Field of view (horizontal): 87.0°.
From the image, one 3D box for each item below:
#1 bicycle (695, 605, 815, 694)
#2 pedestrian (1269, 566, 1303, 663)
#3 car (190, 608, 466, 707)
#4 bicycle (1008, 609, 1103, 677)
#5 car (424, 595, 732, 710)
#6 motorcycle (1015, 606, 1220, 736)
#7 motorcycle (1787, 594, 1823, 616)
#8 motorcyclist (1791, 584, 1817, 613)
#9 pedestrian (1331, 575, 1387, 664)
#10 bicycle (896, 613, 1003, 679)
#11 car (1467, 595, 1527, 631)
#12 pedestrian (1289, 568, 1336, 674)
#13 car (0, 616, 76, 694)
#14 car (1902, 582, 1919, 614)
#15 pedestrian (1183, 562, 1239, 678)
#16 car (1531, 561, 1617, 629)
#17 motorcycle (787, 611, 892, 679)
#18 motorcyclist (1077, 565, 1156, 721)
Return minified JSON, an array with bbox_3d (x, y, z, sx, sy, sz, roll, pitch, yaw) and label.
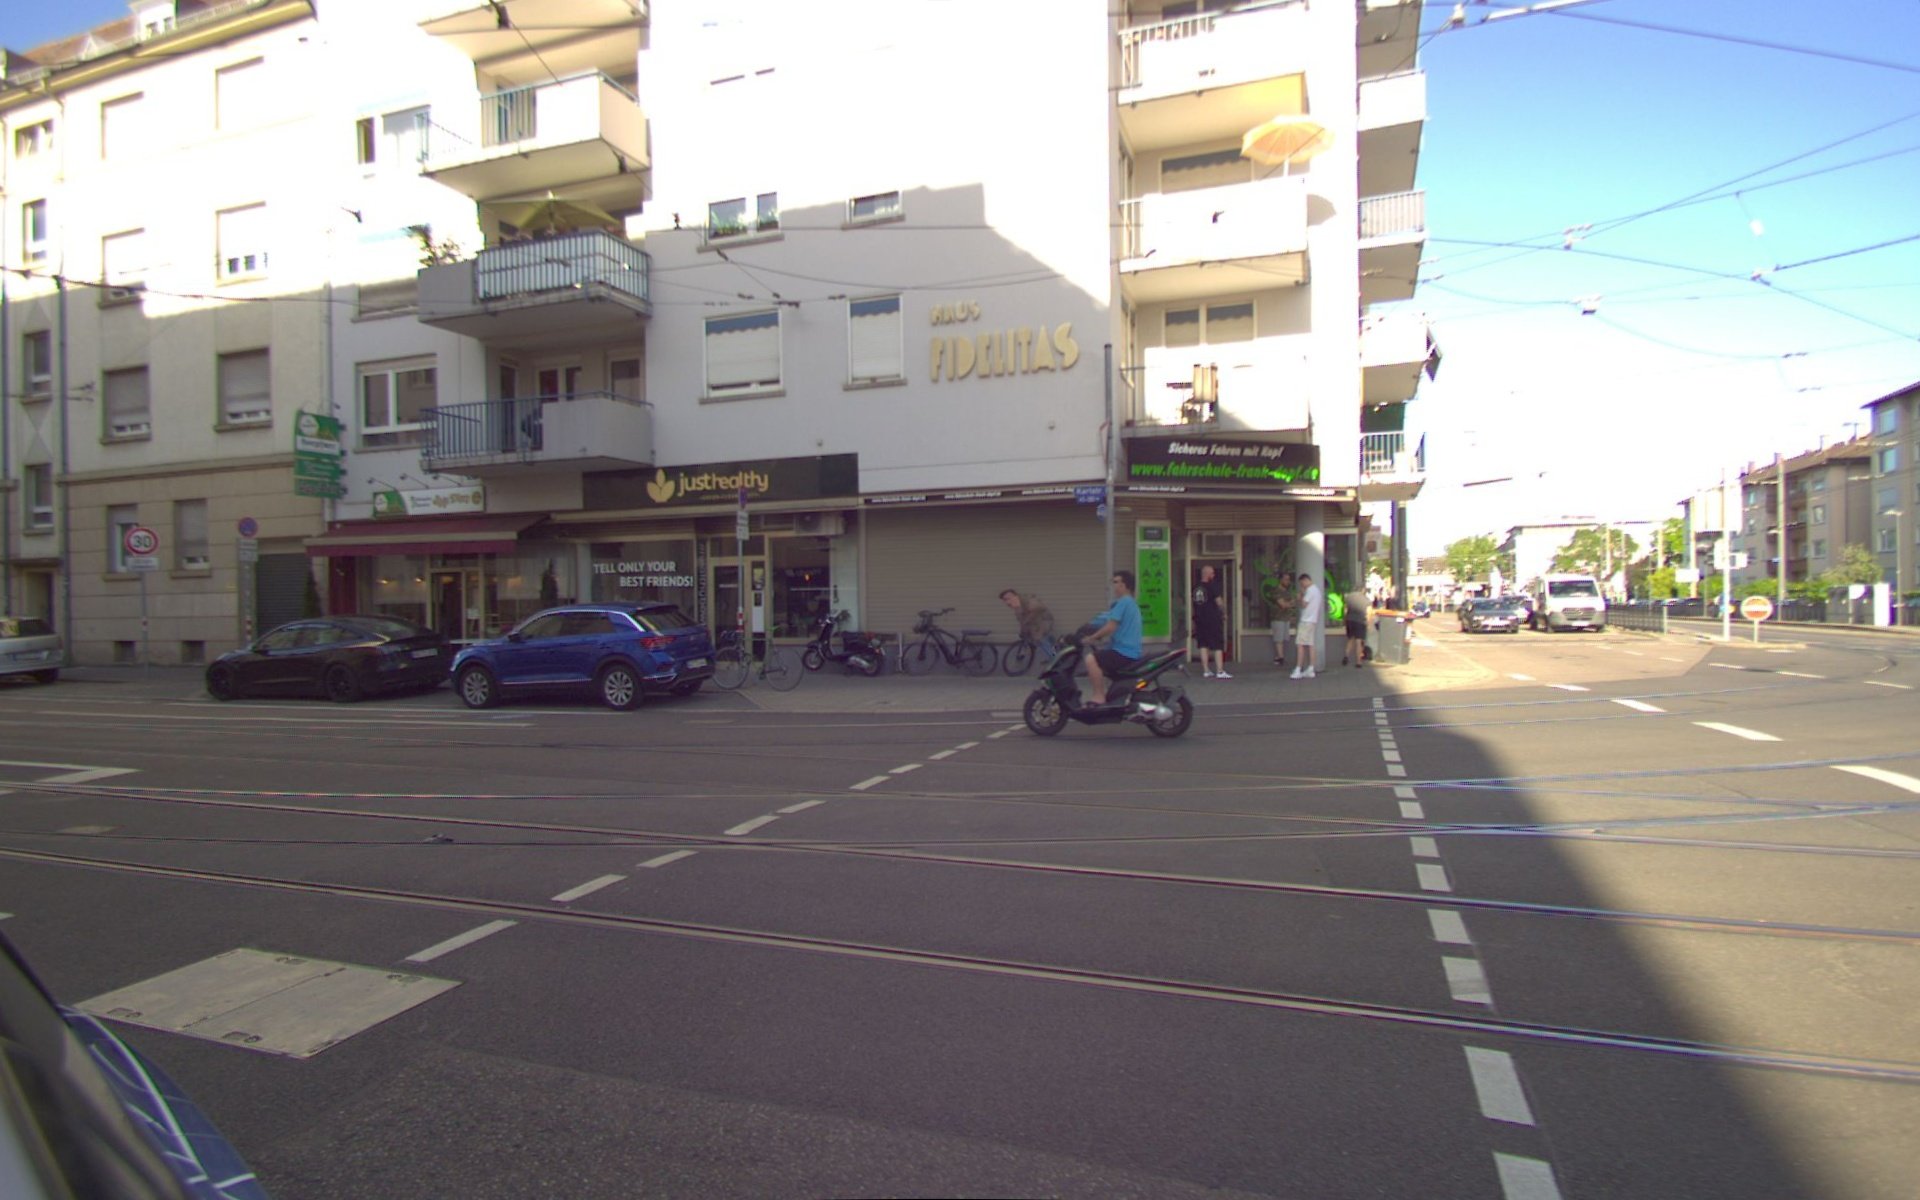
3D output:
[{"bbox_3d":[-3.231,0.766,15.946,1.783,1.324,0.605,-1,2,20],"label":"bicycle"},{"bbox_3d":[6.395,0.276,19.855,0.593,1.869,0.516,-1,2,16],"label":"pedestrian"},{"bbox_3d":[-11.065,0.941,17.729,4.413,1.486,1.763,-1,2,21],"label":"car"},{"bbox_3d":[1.648,0.730,17.445,1.528,1.114,0.549,-1,2,22],"label":"bicycle"},{"bbox_3d":[-5.817,0.790,15.488,4.203,1.514,1.765,-2,2,18],"label":"car"},{"bbox_3d":[1.600,0.708,10.219,1.948,1.229,0.710,-2,0,16],"label":"motorcycle"},{"bbox_3d":[44.958,0.259,53.856,0.851,1.054,1.930,-1,2,19],"label":"motorcycle"},{"bbox_3d":[44.979,-0.088,53.917,0.851,1.499,0.724,-1,2,20],"label":"motorcyclist"},{"bbox_3d":[7.643,0.371,19.368,0.701,1.664,0.749,2,-1,45],"label":"pedestrian"},{"bbox_3d":[-0.184,0.795,17.880,1.783,1.096,0.605,-1,2,20],"label":"bicycle"},{"bbox_3d":[22.081,0.518,41.741,1.872,1.424,3.898,0,-1,24],"label":"car"},{"bbox_3d":[6.138,0.356,17.600,0.658,1.806,0.731,-1,0,26],"label":"pedestrian"},{"bbox_3d":[-21.097,1.140,21.354,4.336,1.465,1.720,-1,3,19],"label":"car"},{"bbox_3d":[48.330,-0.059,49.849,1.549,1.537,3.622,-1,2,21],"label":"car"},{"bbox_3d":[4.285,0.321,17.269,0.738,1.914,0.567,2,2,38],"label":"pedestrian"},{"bbox_3d":[24.656,-0.279,40.849,2.328,2.536,4.817,0,2,24],"label":"car"},{"bbox_3d":[-2.177,0.796,18.227,1.783,1.142,0.605,-1,2,20],"label":"motorcycle"},{"bbox_3d":[1.586,0.423,10.204,0.678,1.508,0.692,-2,0,15],"label":"motorcyclist"}]
